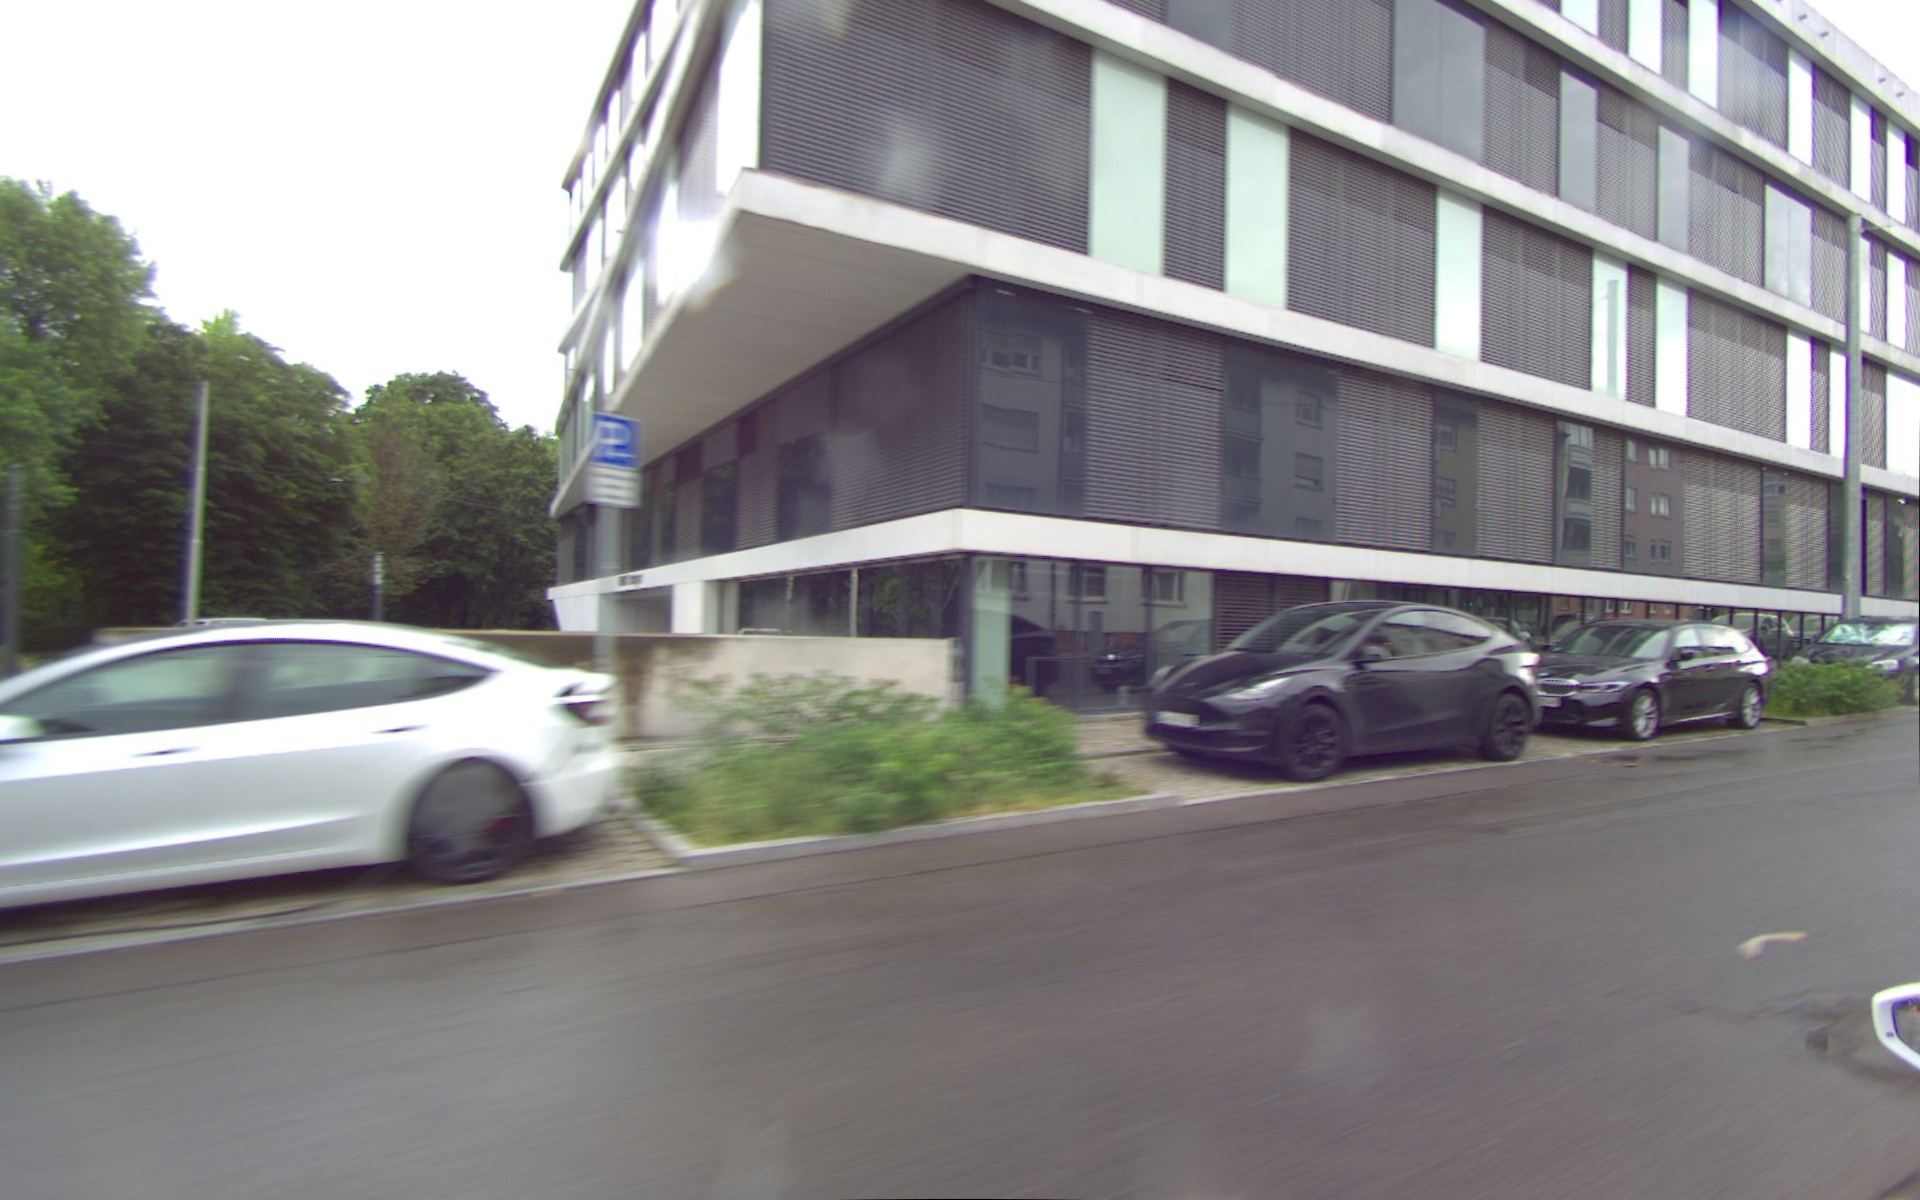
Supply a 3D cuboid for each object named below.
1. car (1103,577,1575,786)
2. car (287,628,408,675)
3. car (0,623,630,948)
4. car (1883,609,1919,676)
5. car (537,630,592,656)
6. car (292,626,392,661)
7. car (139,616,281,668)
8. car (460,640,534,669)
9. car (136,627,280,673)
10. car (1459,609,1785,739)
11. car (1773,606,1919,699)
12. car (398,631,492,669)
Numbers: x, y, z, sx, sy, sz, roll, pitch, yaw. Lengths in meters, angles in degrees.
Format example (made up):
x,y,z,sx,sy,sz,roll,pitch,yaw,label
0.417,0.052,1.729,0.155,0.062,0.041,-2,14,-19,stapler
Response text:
x,y,z,sx,sy,sz,roll,pitch,yaw,label
4.064,0.731,10.566,4.881,1.773,1.954,1,0,-29,car
-25.315,2.093,41.644,1.883,1.762,4.001,1,-1,18,car
-4.285,0.868,5.633,4.351,1.437,1.812,1,-1,-31,car
22.188,0.926,21.955,4.341,1.415,1.828,1,-1,-31,car
-27.206,2.936,69.276,1.711,1.628,3.869,1,-1,11,car
-31.317,2.161,51.067,1.891,1.628,4.282,1,-1,11,car
-33.150,1.805,44.590,2.125,2.124,4.841,1,-1,11,car
-23.004,2.695,50.023,1.452,1.258,3.401,1,-1,18,car
-26.647,1.746,35.737,1.635,1.469,3.869,1,-1,18,car
9.067,0.902,13.658,4.686,1.492,1.862,1,-1,-31,car
16.978,0.904,18.432,4.296,1.509,1.854,1,-1,-31,car
-23.741,2.277,46.446,1.770,1.609,3.679,1,-1,18,car
